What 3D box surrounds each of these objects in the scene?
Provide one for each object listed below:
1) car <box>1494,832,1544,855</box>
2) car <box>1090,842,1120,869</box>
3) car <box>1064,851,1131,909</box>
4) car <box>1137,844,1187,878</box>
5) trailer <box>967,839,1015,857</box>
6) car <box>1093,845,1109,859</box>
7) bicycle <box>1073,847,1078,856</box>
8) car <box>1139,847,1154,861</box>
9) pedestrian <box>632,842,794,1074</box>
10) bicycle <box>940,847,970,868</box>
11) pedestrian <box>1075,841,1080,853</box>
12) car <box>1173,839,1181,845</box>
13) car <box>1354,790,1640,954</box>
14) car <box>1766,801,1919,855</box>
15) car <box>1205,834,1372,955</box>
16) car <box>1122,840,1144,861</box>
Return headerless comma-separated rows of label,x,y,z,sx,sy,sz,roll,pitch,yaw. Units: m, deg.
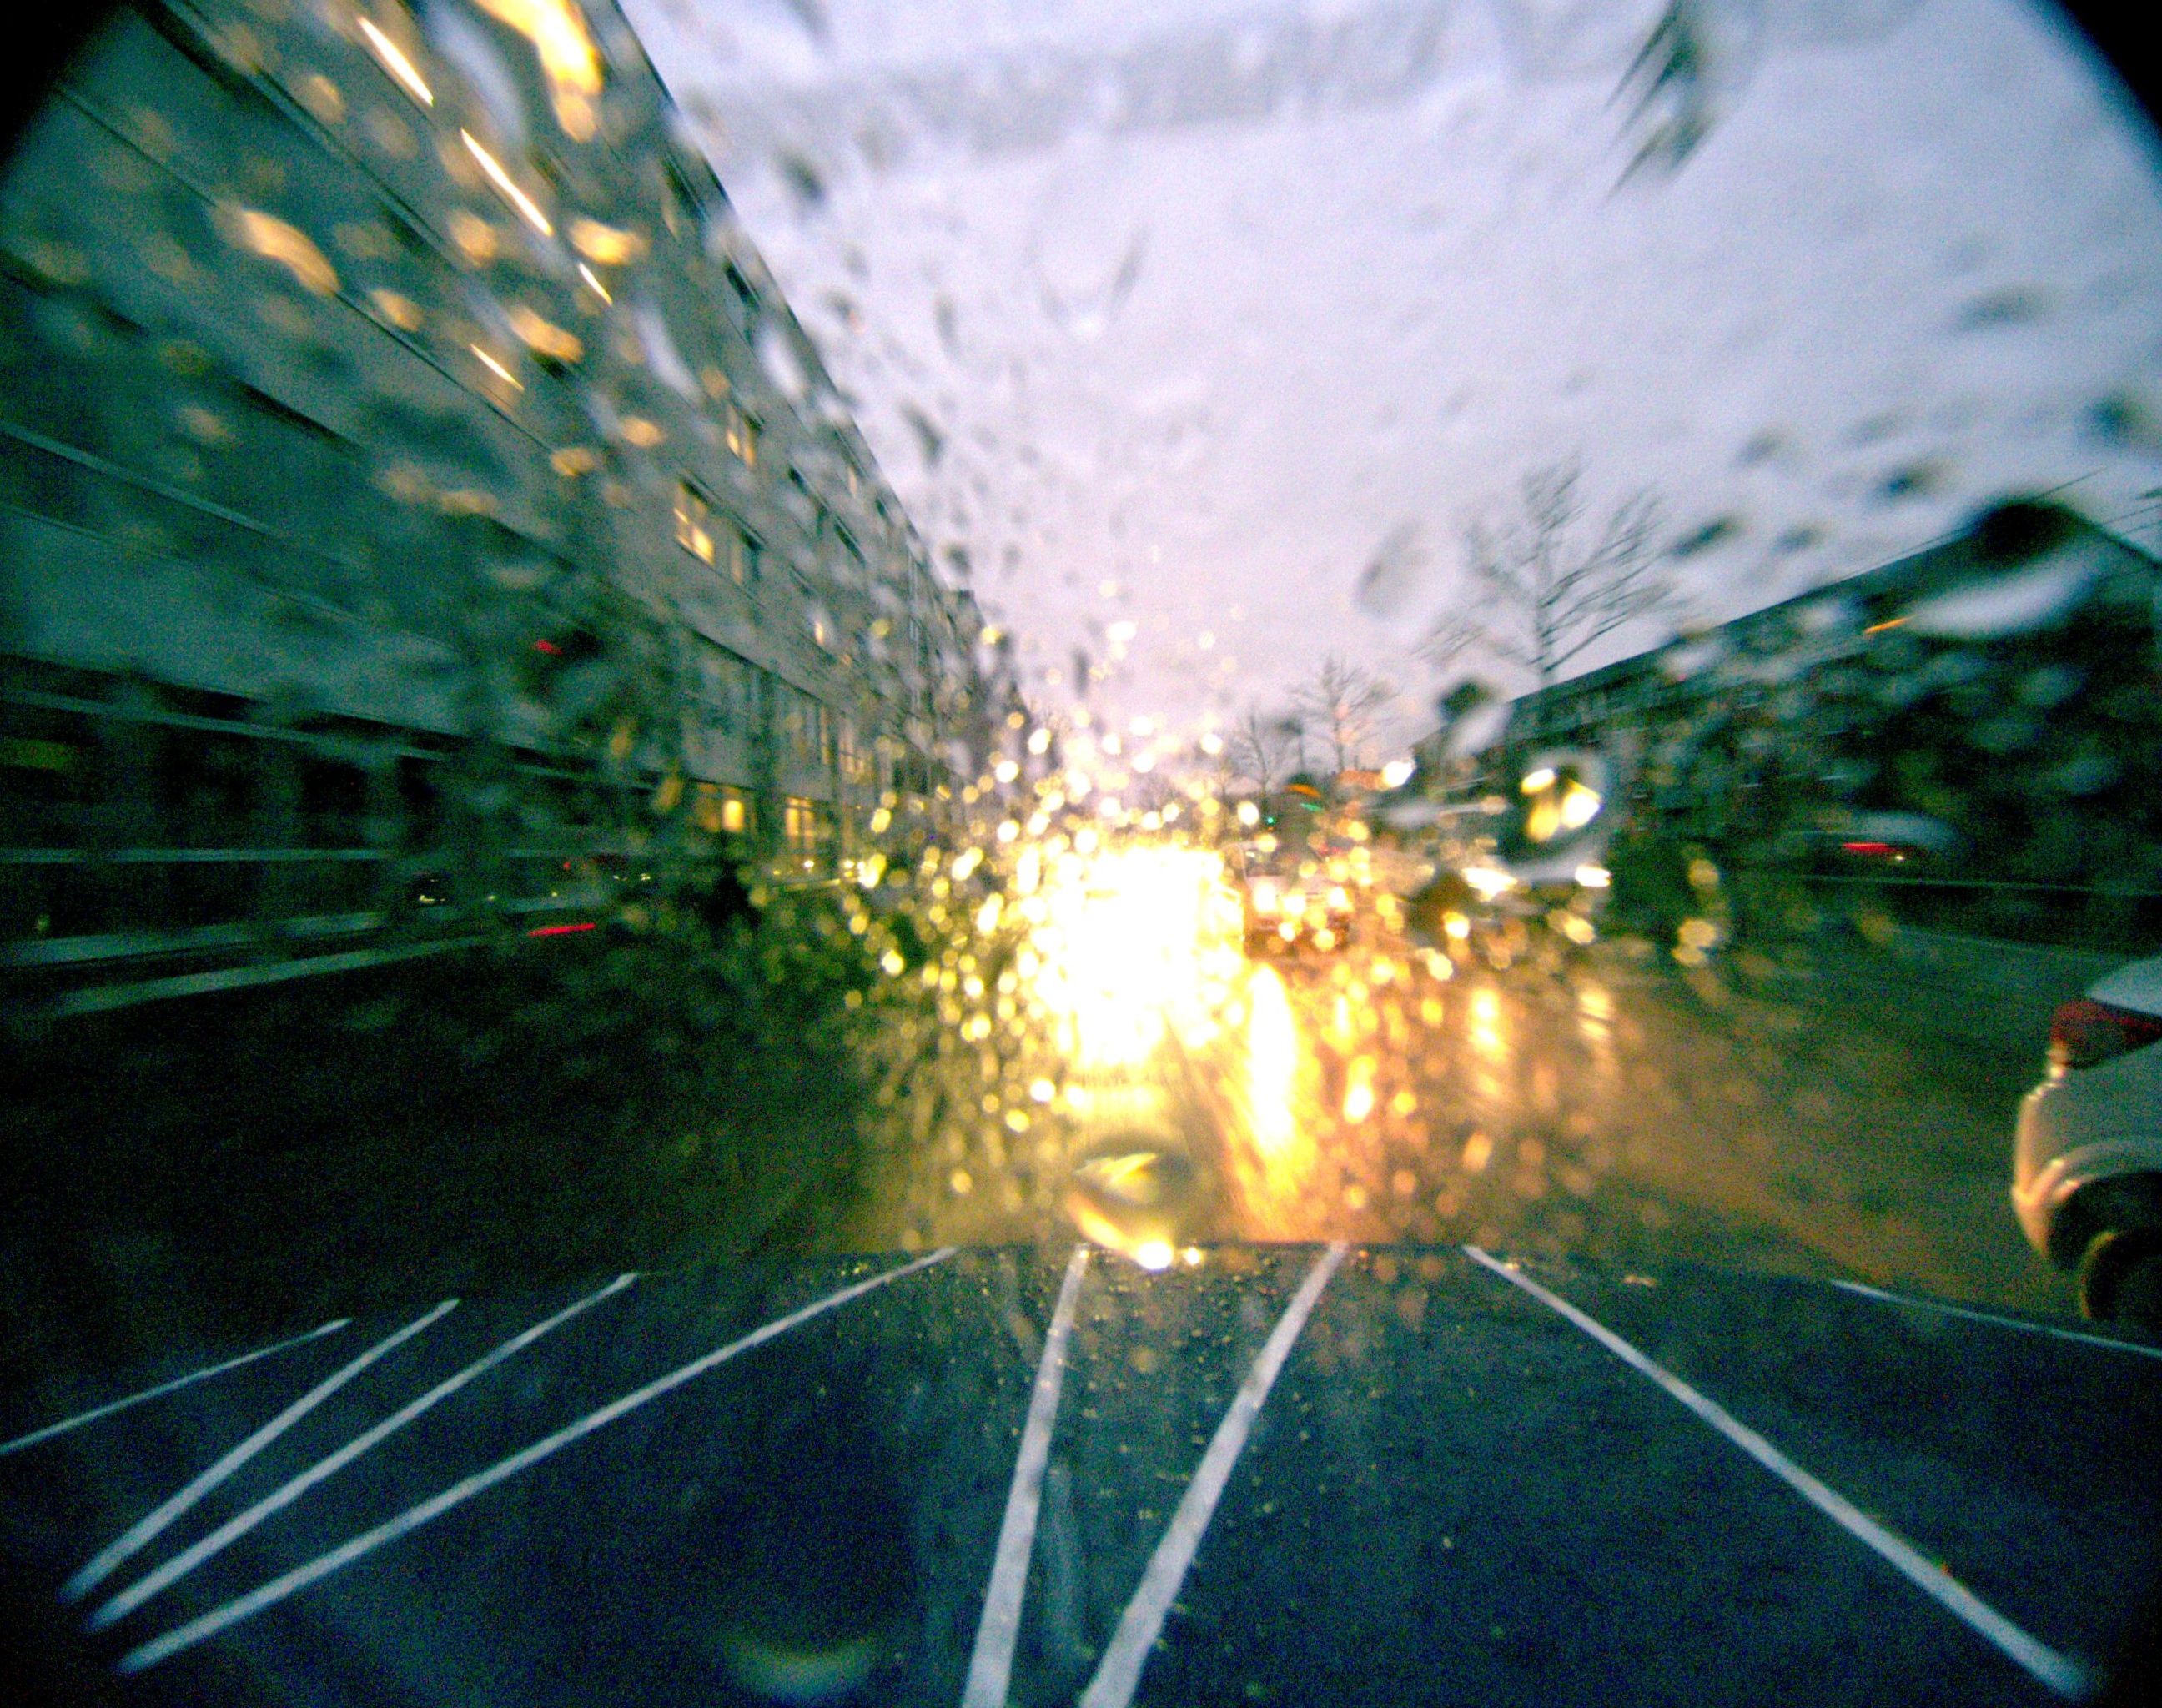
car,34.534,-0.836,60.035,1.728,1.636,4.150,-3,2,4
car,1.511,0.061,48.669,1.764,1.520,3.734,-3,2,1
car,0.509,0.695,22.361,1.757,1.418,3.803,-3,1,2
car,3.932,0.302,37.681,1.975,1.492,4.091,-3,1,0
trailer,-10.219,-0.663,86.711,5.078,1.900,2.131,-2,0,6
car,1.975,-0.207,75.574,1.595,1.386,3.486,0,0,1
bicycle,-0.753,-0.356,104.876,0.552,1.109,2.165,0,2,1
car,7.961,-0.016,92.694,1.539,1.404,3.667,-3,2,1
pedestrian,-3.050,0.792,6.335,0.796,1.740,0.863,3,1,28
bicycle,-7.906,0.202,47.900,0.823,1.266,2.461,2,1,17
pedestrian,-0.569,-1.046,116.090,0.739,1.726,0.702,-3,2,-2
car,28.015,-3.448,222.437,1.527,1.630,3.747,-2,2,-5
car,6.194,0.203,12.147,1.957,2.022,4.882,-2,1,2
car,26.673,-0.906,26.811,1.714,1.679,3.731,-3,2,2
car,3.364,0.547,13.148,2.020,1.668,4.000,-3,2,4
car,4.739,-0.336,69.641,1.691,1.780,3.645,-3,2,1
